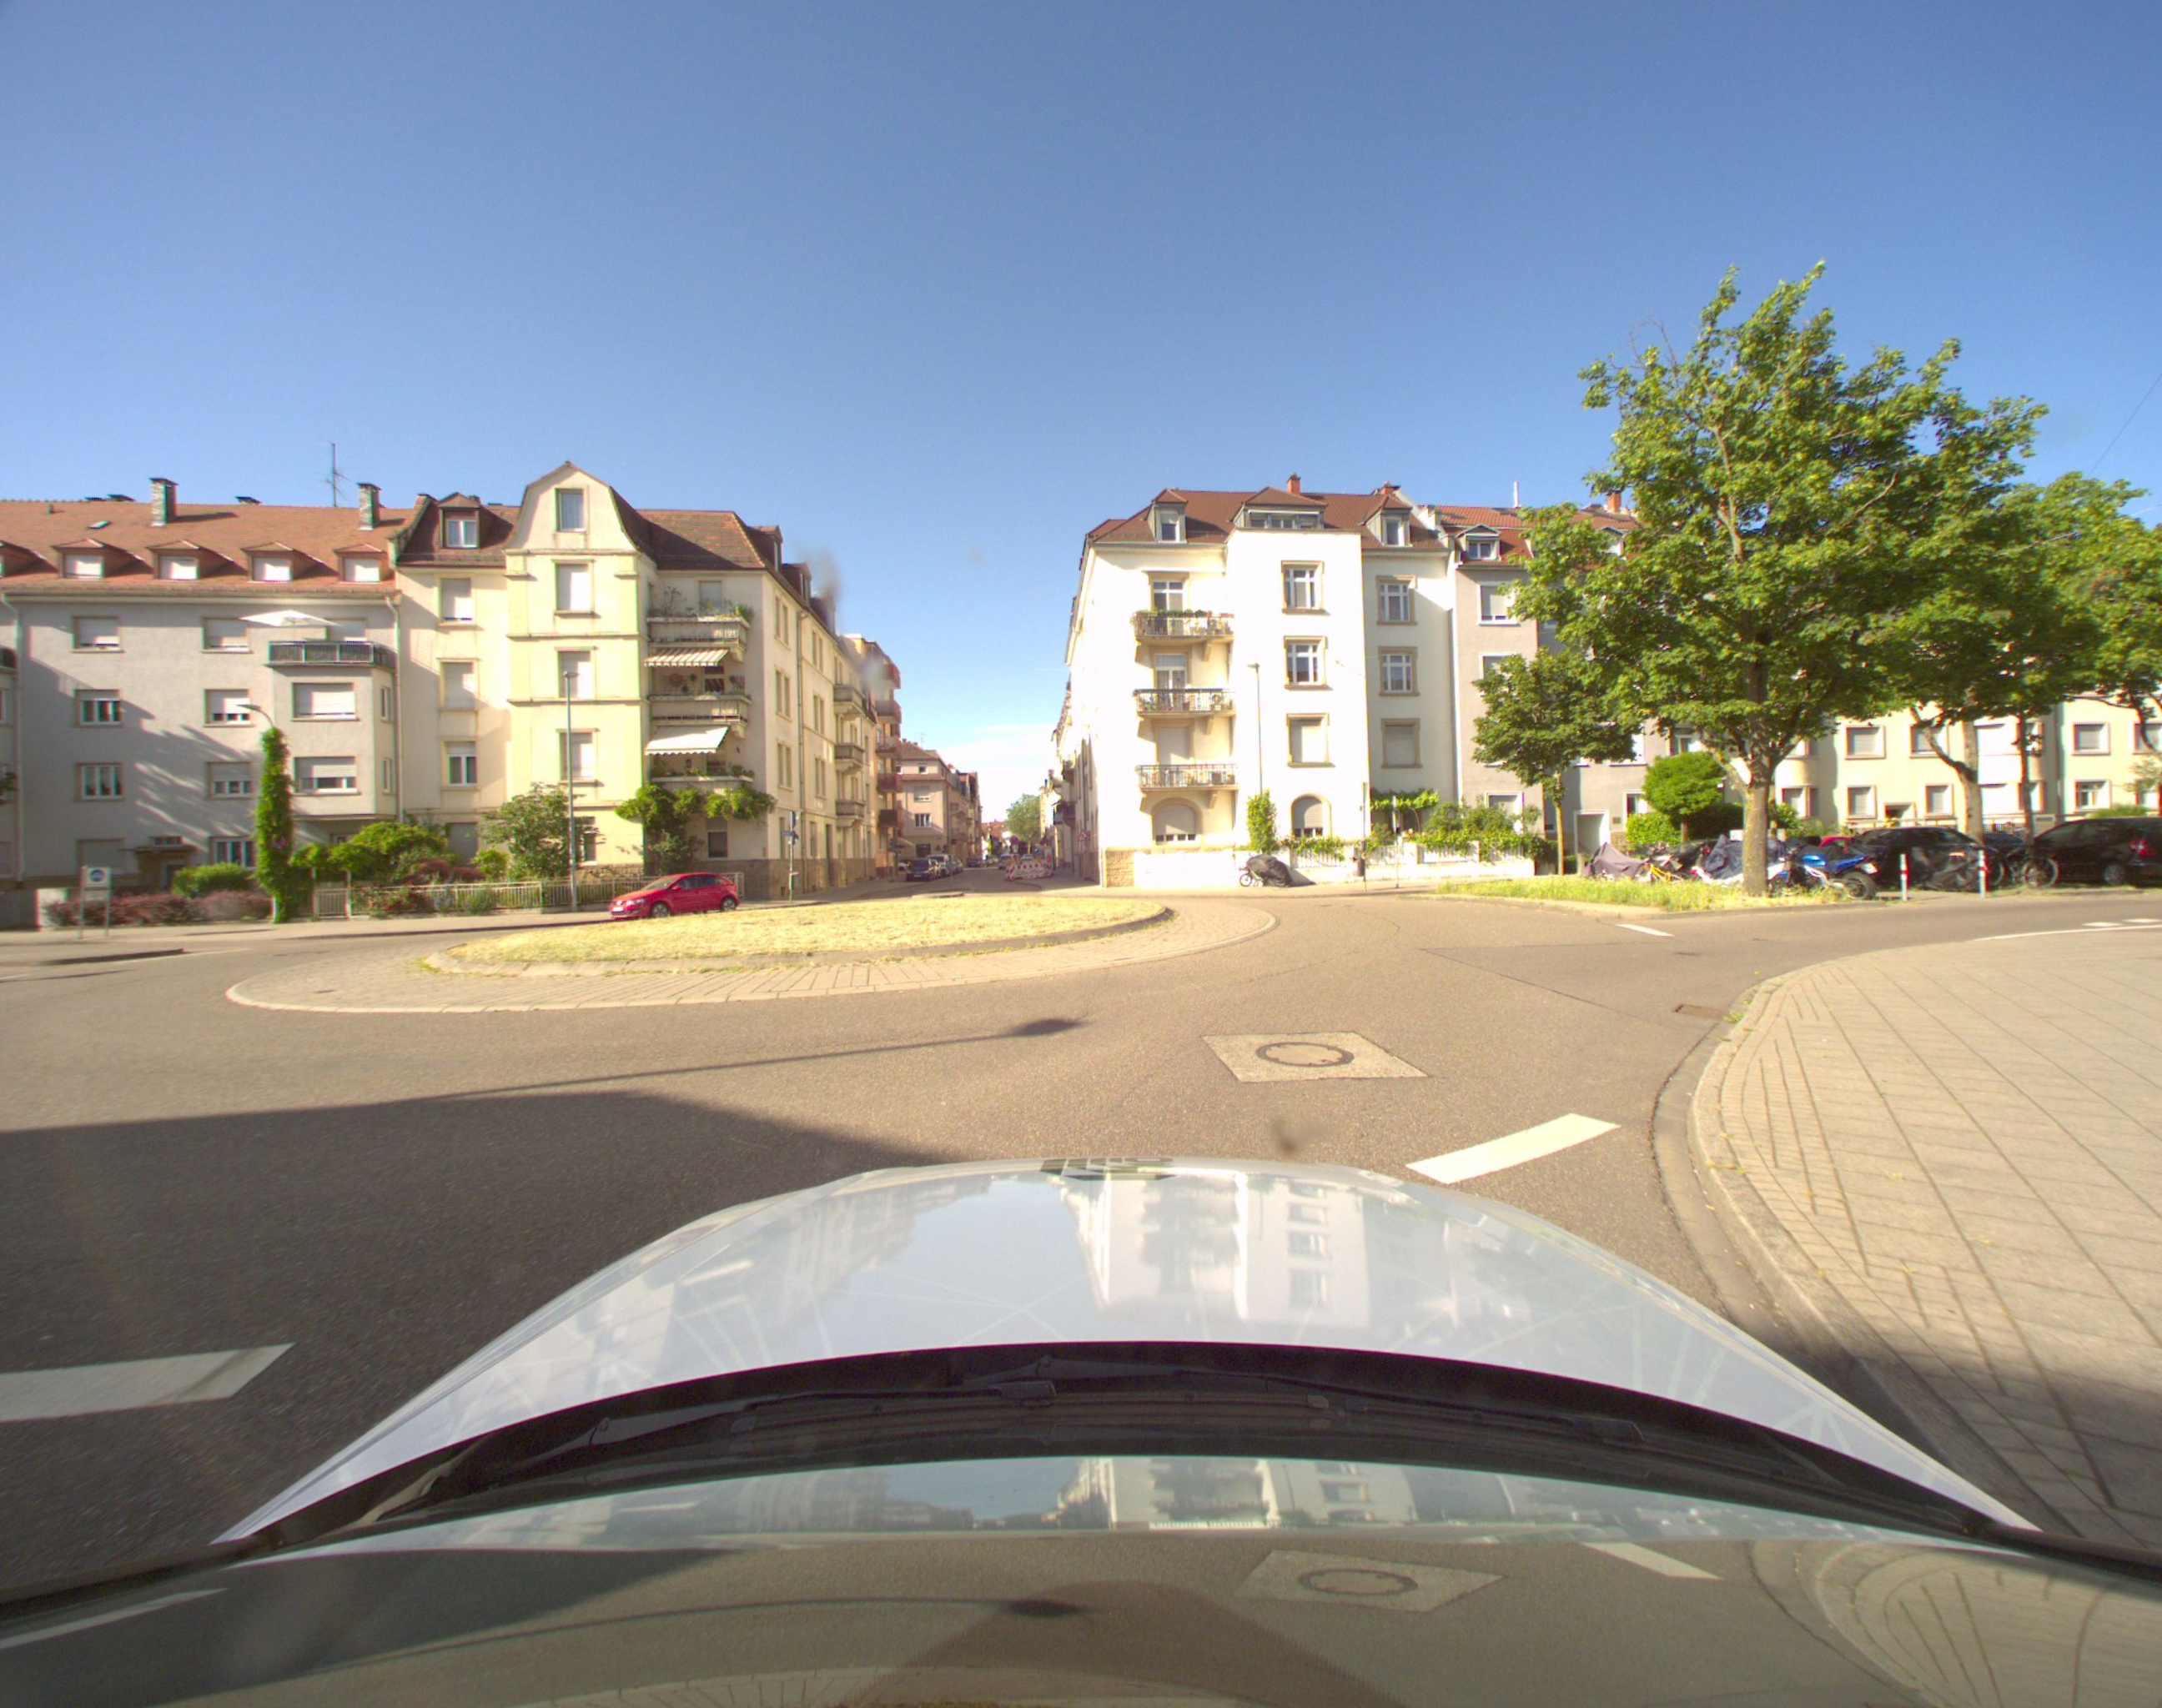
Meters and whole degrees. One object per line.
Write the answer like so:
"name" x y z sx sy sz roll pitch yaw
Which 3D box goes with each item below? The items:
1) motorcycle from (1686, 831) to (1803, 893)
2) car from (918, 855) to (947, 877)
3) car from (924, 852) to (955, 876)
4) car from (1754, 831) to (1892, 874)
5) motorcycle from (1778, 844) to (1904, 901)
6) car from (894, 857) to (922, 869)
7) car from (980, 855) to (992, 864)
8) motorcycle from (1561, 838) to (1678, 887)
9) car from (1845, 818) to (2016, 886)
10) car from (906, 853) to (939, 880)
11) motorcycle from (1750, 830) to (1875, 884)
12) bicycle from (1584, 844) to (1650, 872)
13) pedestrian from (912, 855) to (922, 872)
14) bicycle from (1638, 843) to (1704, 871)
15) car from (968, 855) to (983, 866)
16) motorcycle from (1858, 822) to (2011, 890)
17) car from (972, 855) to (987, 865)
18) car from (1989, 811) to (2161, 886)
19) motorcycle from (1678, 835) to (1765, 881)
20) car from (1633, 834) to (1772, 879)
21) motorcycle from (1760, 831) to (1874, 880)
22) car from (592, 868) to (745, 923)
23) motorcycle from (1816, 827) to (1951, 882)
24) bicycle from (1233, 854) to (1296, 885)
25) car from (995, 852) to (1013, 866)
"motorcycle" 15.387 0.182 18.972 0.860 1.328 2.048 -2 0 -9
"car" -11.456 0.927 63.024 1.759 1.621 4.288 -1 0 -4
"car" -11.859 0.803 68.536 1.972 1.925 5.301 -1 0 -4
"car" 27.558 -0.067 30.288 3.839 1.445 1.748 -2 0 -8
"motorcycle" 15.644 0.344 16.833 0.810 1.072 1.842 -2 1 -5
"car" -21.756 1.060 102.393 3.487 1.438 1.715 0 1 42
"car" -16.277 0.972 139.634 1.975 1.482 4.320 1 -1 -5
"motorcycle" 15.143 0.228 23.036 1.124 1.267 2.774 -2 0 -11
"car" 22.938 -0.058 22.207 1.782 1.640 3.898 -2 0 23
"car" -11.136 0.858 57.542 1.759 1.771 4.288 -1 0 -4
"motorcycle" 18.624 0.079 20.831 1.047 1.267 2.238 -2 0 -6
"bicycle" 21.714 0.164 33.006 2.244 1.059 0.682 -2 0 -4
"pedestrian" -17.534 0.981 87.029 0.923 1.817 0.992 -1 0 -7
"bicycle" 24.160 0.130 33.337 2.244 1.059 0.682 -2 0 -4
"car" -14.639 0.949 112.872 1.675 1.426 4.270 1 -1 -2
"motorcycle" 18.980 0.052 18.202 1.058 1.392 2.122 -2 0 -7
"car" -15.323 0.924 123.411 2.000 1.582 4.479 1 -1 -5
"car" 24.375 -0.151 19.195 1.980 1.598 4.014 -1 0 12
"motorcycle" 18.387 0.104 23.441 0.885 1.236 1.890 -2 0 -6
"car" 22.563 0.098 29.632 3.941 1.445 1.748 -2 -2 -8
"motorcycle" 20.487 0.042 22.755 1.047 1.267 2.238 -2 0 -6
"car" -13.026 1.284 25.974 1.695 1.382 4.025 -3 1 29
"motorcycle" 19.863 0.022 20.248 1.047 1.267 2.238 -2 0 -6
"bicycle" 7.090 0.586 31.540 2.256 1.157 0.771 -1 0 38
"car" -8.948 0.598 95.271 1.834 1.431 4.023 -3 -1 -3
